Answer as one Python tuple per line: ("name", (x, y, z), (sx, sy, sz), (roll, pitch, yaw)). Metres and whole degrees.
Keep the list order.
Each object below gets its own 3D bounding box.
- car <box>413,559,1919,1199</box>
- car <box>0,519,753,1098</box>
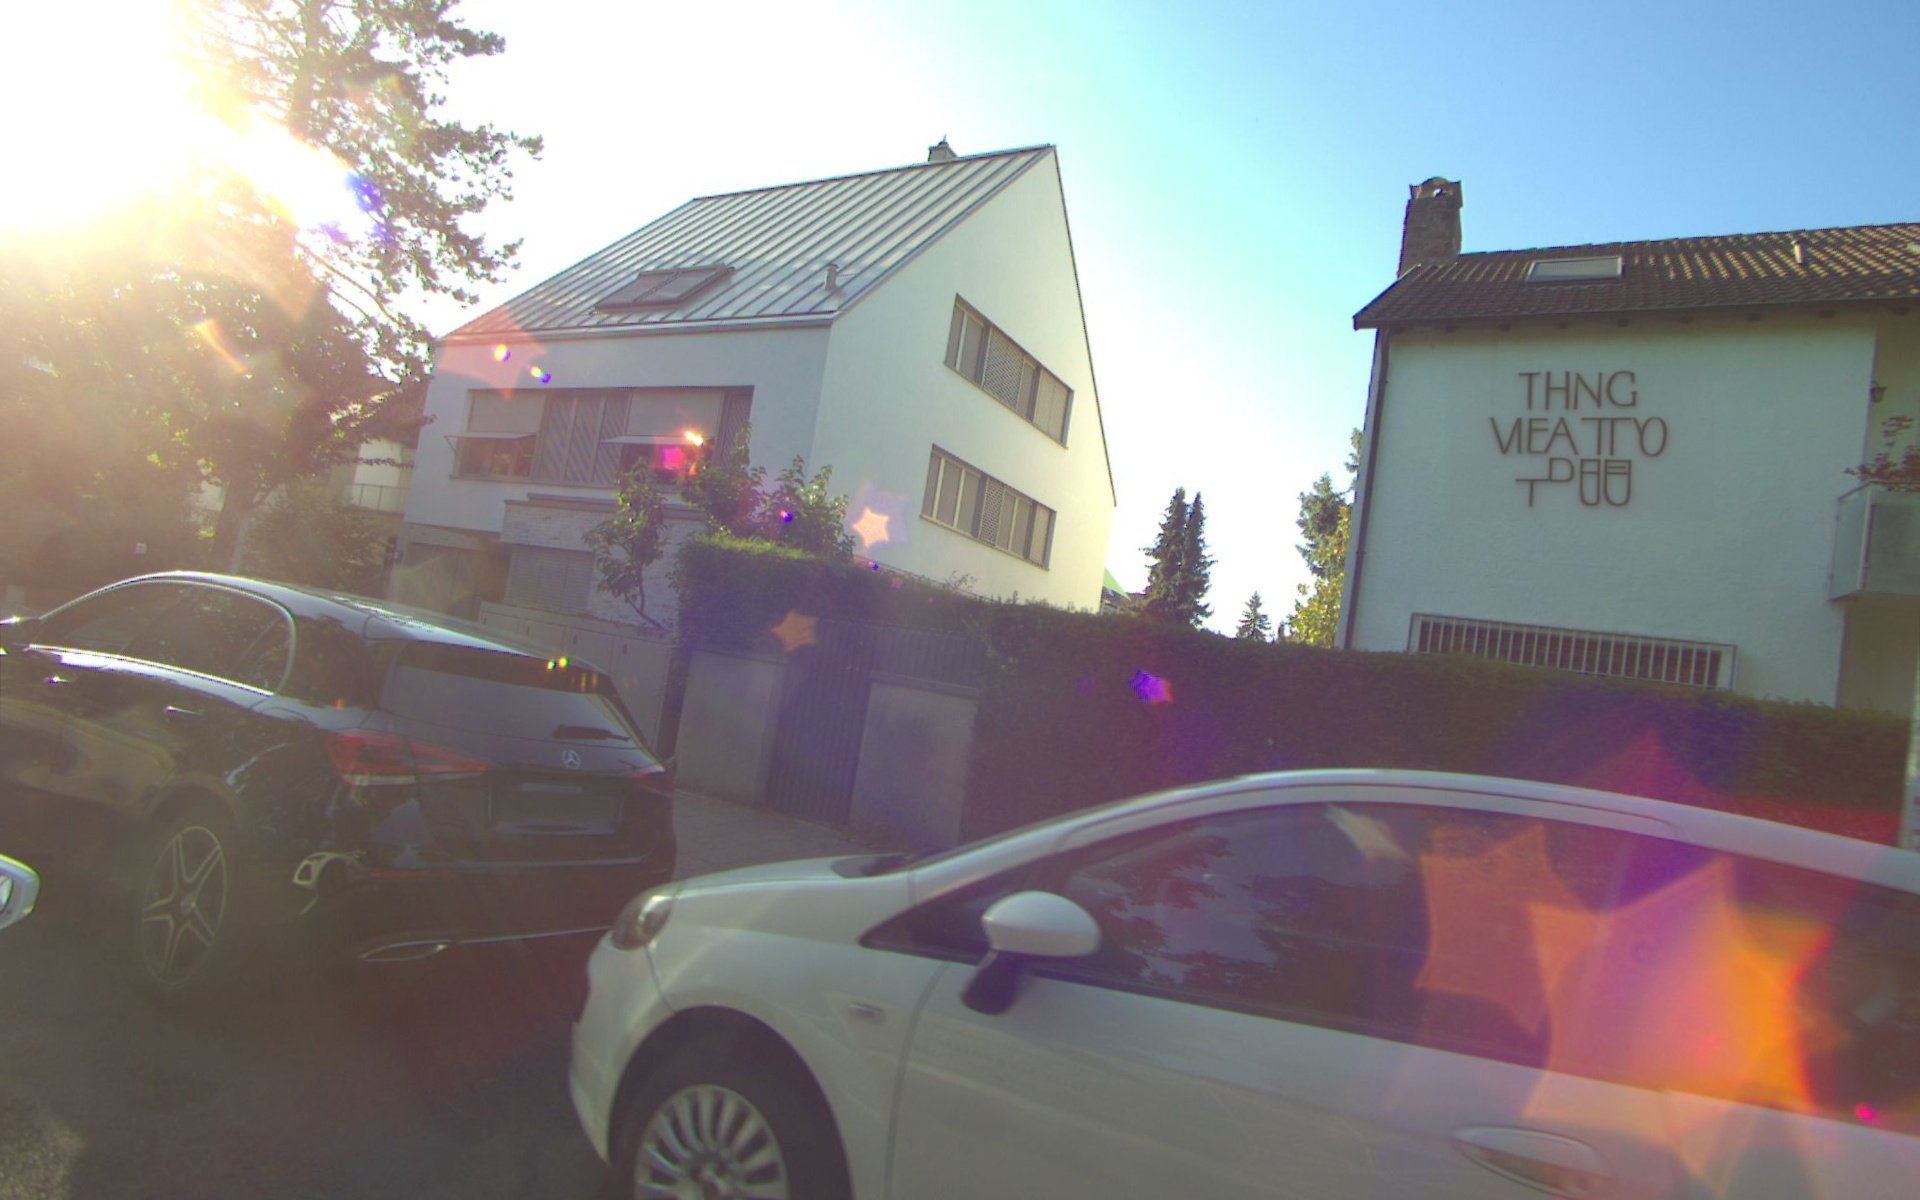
("car", (0.853, 1.005, 2.415), (3.860, 1.494, 1.702), (7, -9, 27))
("car", (-3.270, 0.608, 4.651), (4.214, 1.490, 1.758), (7, -7, 29))
